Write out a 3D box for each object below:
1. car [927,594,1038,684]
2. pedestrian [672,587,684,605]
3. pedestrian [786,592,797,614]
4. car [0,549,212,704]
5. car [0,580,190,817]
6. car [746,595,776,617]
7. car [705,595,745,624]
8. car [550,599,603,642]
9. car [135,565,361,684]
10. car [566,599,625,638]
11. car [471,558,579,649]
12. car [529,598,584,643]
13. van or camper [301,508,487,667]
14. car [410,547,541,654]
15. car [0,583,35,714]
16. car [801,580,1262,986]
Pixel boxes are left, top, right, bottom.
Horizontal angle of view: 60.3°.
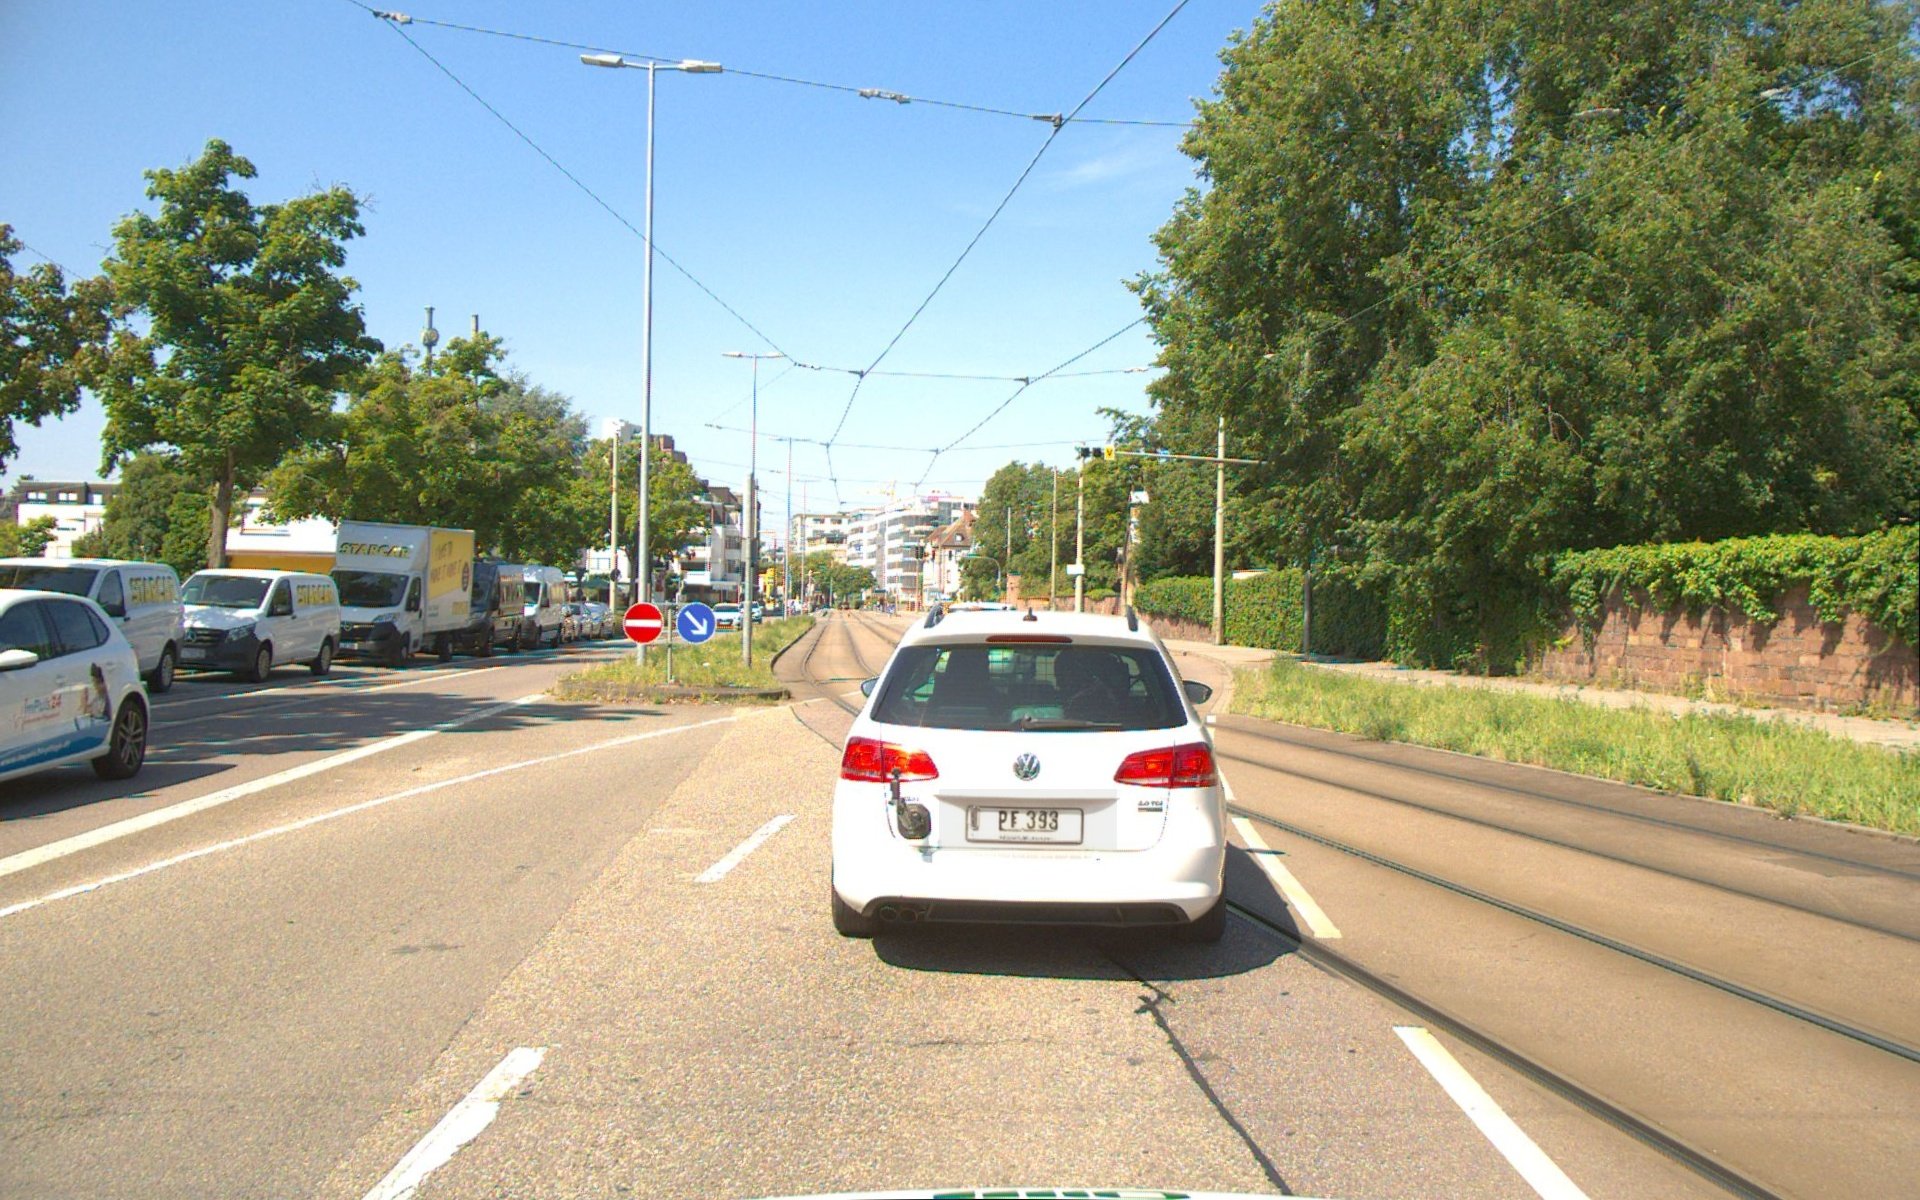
[{"bbox_3d":[0.515,0.730,32.810,1.694,1.624,4.014,2,0,7],"label":"car"},{"bbox_3d":[-22.894,-0.336,134.368,0.555,1.513,0.812,0,0,39],"label":"pedestrian"},{"bbox_3d":[-13.721,0.225,134.906,0.811,1.769,0.929,0,0,-12],"label":"pedestrian"},{"bbox_3d":[-12.660,0.331,23.679,2.155,1.975,5.175,0,0,-8],"label":"car"},{"bbox_3d":[-6.984,0.629,11.425,1.694,1.491,3.996,-1,0,-5],"label":"car"},{"bbox_3d":[-14.665,0.418,122.163,2.003,1.625,4.656,0,0,-4],"label":"car"},{"bbox_3d":[-12.393,0.488,87.294,1.756,1.447,4.332,0,0,-4],"label":"car"},{"bbox_3d":[-14.814,0.765,64.049,1.266,1.516,4.347,2,0,-4],"label":"car"},{"bbox_3d":[-12.771,0.396,30.093,2.152,1.974,5.181,0,0,-4],"label":"car"},{"bbox_3d":[-15.234,0.742,69.262,1.572,1.516,4.615,2,0,-2],"label":"car"},{"bbox_3d":[-13.881,0.105,53.148,2.152,2.676,5.974,2,0,-4],"label":"car"},{"bbox_3d":[-14.487,0.712,59.516,1.266,1.516,3.674,2,0,-4],"label":"car"},{"bbox_3d":[-12.992,-0.278,38.539,2.152,3.297,6.768,2,0,-3],"label":"van or camper"},{"bbox_3d":[-13.480,-0.007,46.448,2.152,2.715,6.075,2,0,-4],"label":"car"},{"bbox_3d":[-11.680,0.553,16.984,1.894,1.480,4.881,0,0,-4],"label":"car"},{"bbox_3d":[0.445,0.678,8.192,1.741,1.516,3.849,0,0,5],"label":"car"}]
